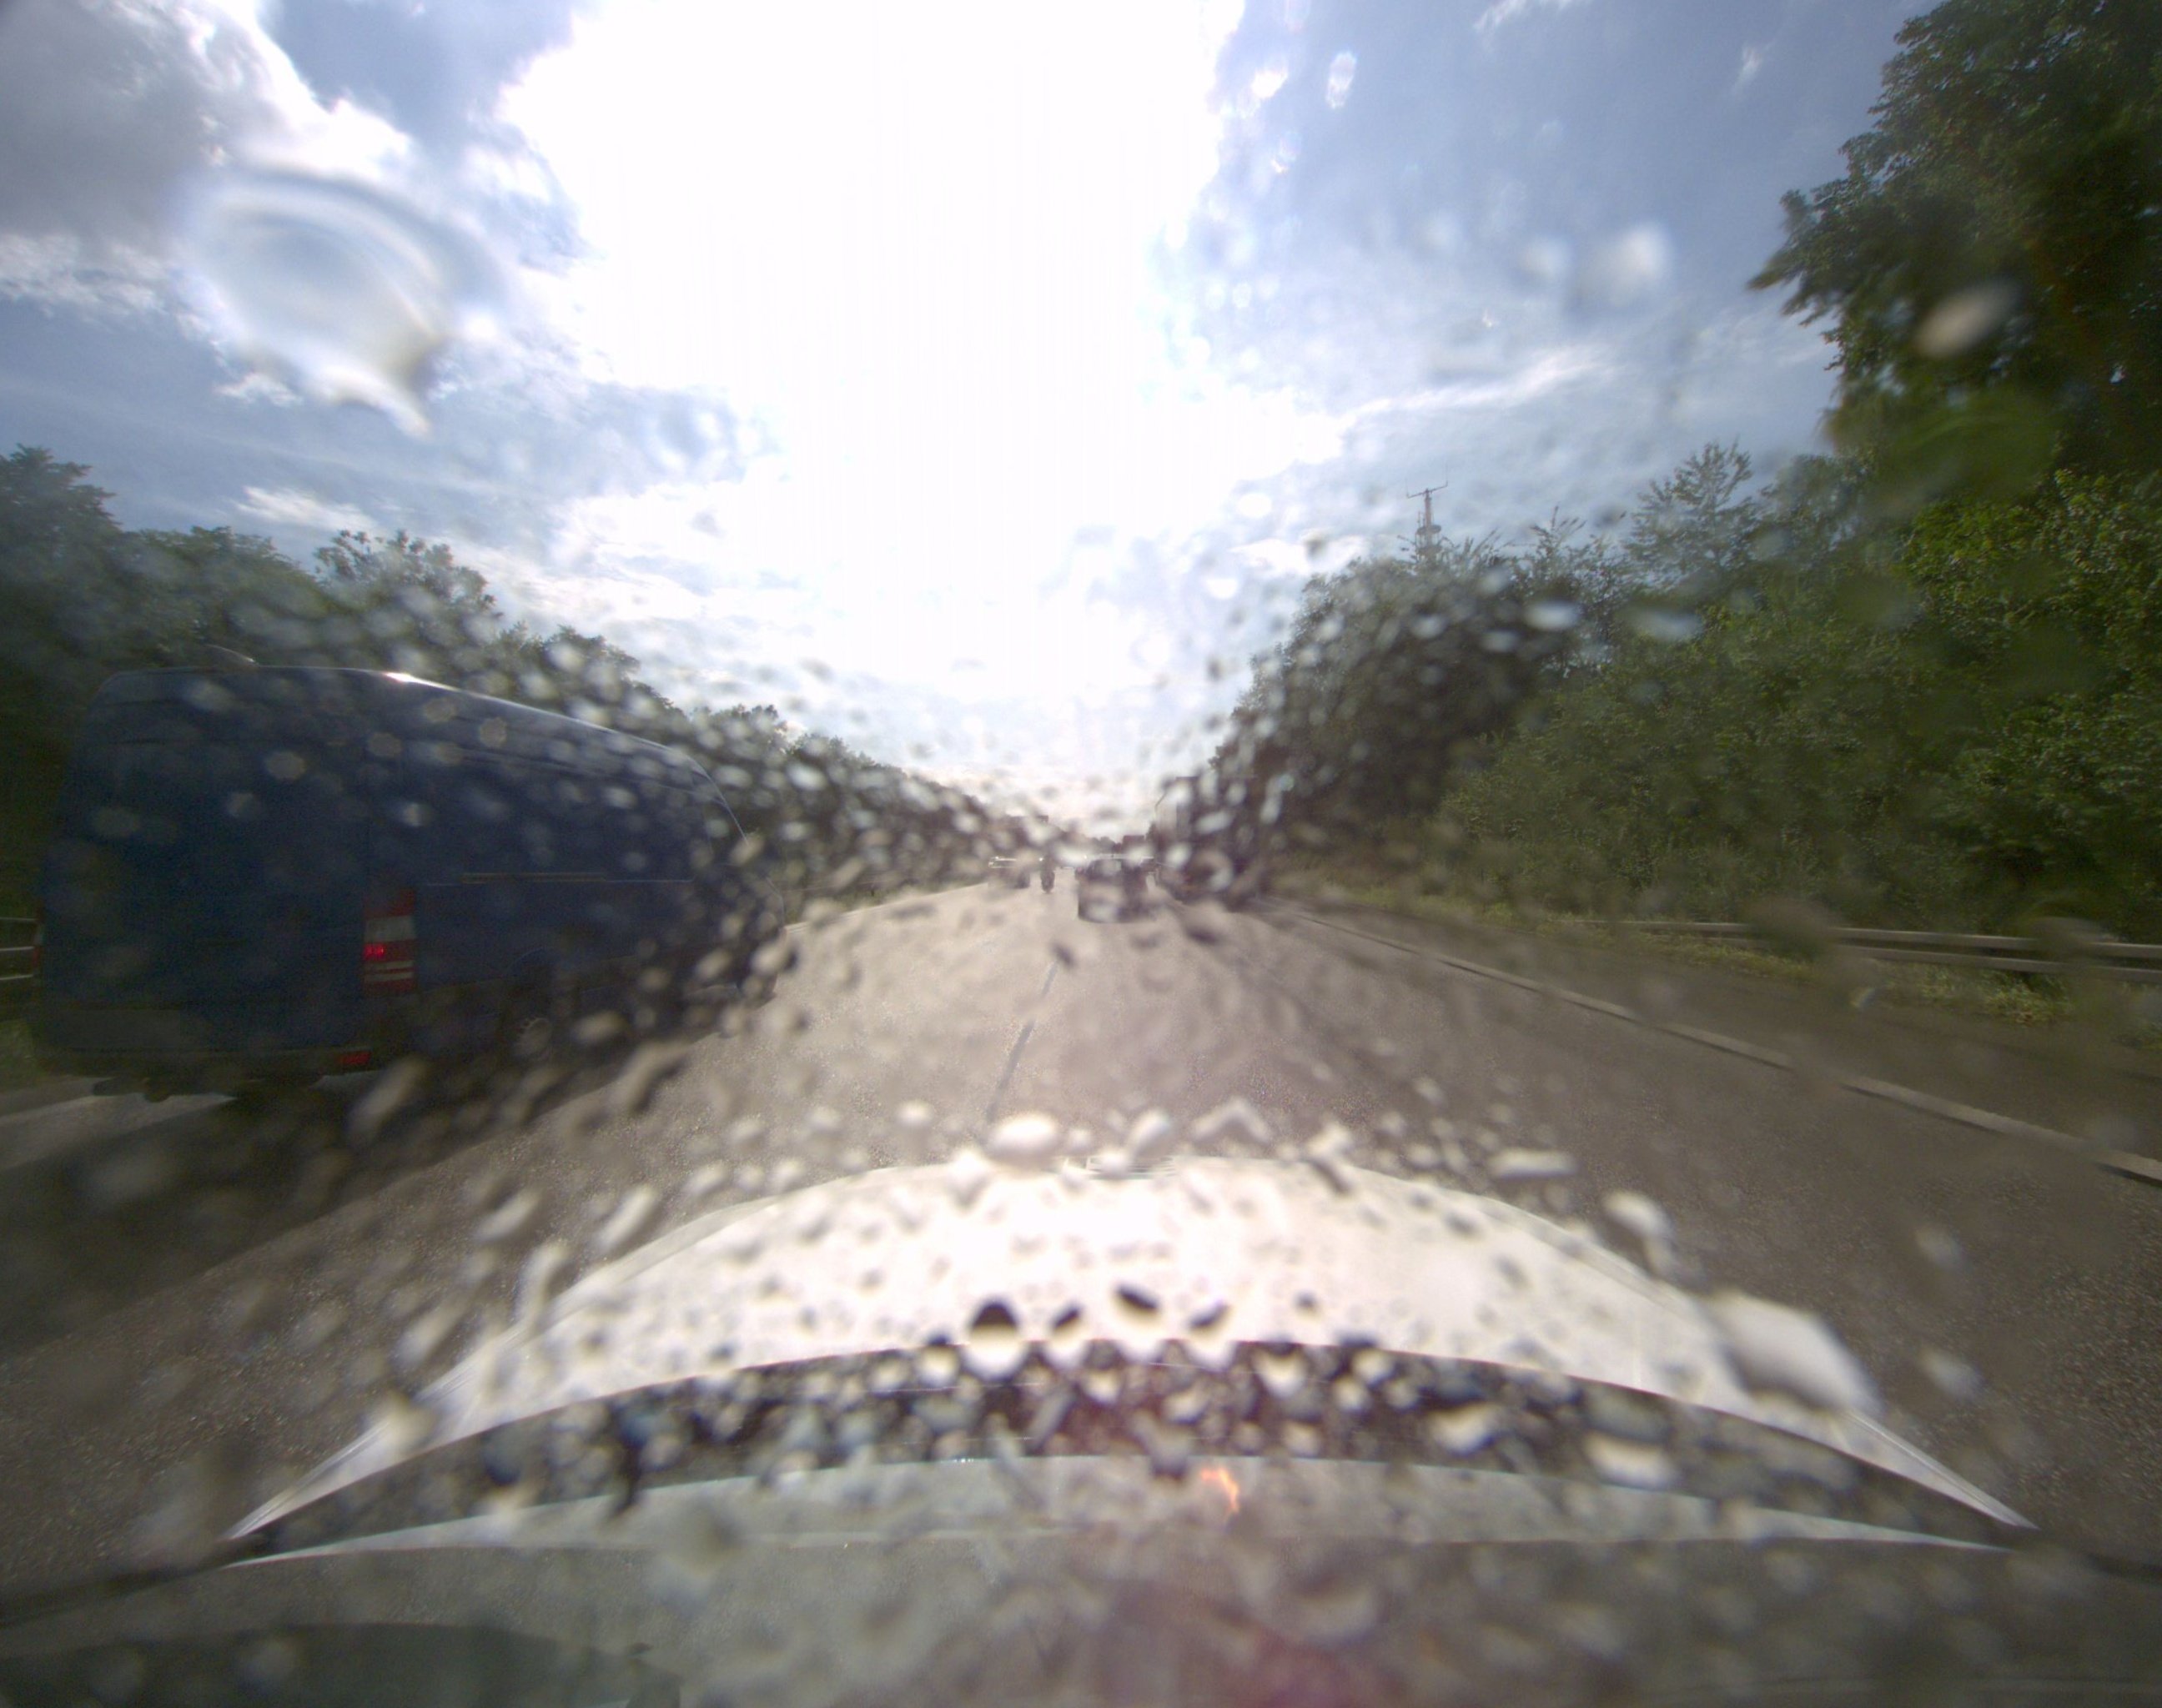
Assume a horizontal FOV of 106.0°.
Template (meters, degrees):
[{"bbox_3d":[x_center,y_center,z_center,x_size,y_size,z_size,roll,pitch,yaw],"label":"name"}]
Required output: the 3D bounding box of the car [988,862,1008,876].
[{"bbox_3d":[-10.622,1.889,105.101,1.901,1.679,4.969,-2,0,1],"label":"car"}]

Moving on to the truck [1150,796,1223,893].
[{"bbox_3d":[4.983,-0.404,39.451,3.040,4.325,5.890,-1,-1,3],"label":"truck"}]

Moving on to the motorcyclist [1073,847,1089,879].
[{"bbox_3d":[-0.008,0.487,44.682,0.818,1.761,1.391,-1,-1,1],"label":"motorcyclist"}]

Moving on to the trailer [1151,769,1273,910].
[{"bbox_3d":[4.661,-0.434,32.271,3.076,4.312,14.113,-1,0,2],"label":"trailer"}]

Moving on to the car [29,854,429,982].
[{"bbox_3d":[-14.304,0.928,14.205,1.986,1.834,4.621,1,0,2],"label":"car"}]

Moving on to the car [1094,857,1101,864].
[{"bbox_3d":[4.538,1.783,223.863,1.986,2.014,4.001,-1,-1,1],"label":"car"}]

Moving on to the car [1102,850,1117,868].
[{"bbox_3d":[3.273,0.568,94.796,1.669,1.936,3.774,-1,0,1],"label":"car"}]

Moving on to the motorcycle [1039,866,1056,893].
[{"bbox_3d":[-1.426,1.048,34.600,0.674,1.087,1.980,0,0,-2],"label":"motorcycle"}]

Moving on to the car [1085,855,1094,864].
[{"bbox_3d":[2.044,1.292,185.450,1.986,2.014,4.001,-1,-1,1],"label":"car"}]

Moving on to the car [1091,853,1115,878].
[{"bbox_3d":[1.893,0.963,69.824,1.986,2.014,4.000,-1,-1,1],"label":"car"}]

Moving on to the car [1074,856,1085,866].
[{"bbox_3d":[-0.224,1.116,133.189,1.669,1.597,3.437,-1,0,1],"label":"car"}]

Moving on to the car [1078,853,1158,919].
[{"bbox_3d":[0.932,0.783,21.711,1.908,1.565,4.315,-1,0,1],"label":"car"}]

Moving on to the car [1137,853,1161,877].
[{"bbox_3d":[5.825,0.922,69.724,1.842,2.014,4.089,-1,-1,2],"label":"car"}]

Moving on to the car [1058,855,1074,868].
[{"bbox_3d":[-1.866,0.912,102.703,1.886,1.628,4.196,-1,0,1],"label":"car"}]

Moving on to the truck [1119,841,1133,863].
[{"bbox_3d":[10.080,-0.350,183.623,2.871,4.687,12.662,-1,-1,2],"label":"truck"}]

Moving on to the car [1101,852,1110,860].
[{"bbox_3d":[4.596,0.343,151.261,1.626,1.490,3.437,-1,0,1],"label":"car"}]

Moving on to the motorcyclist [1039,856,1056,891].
[{"bbox_3d":[-1.427,0.826,34.621,0.669,1.442,1.019,0,-1,-2],"label":"motorcyclist"}]

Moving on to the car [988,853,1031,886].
[{"bbox_3d":[-3.641,0.782,42.090,1.752,1.595,4.331,-1,0,1],"label":"car"}]

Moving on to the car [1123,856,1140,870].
[{"bbox_3d":[5.510,0.976,88.955,1.669,1.490,3.437,-1,0,1],"label":"car"}]

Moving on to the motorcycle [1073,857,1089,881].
[{"bbox_3d":[0.001,0.814,44.687,0.816,1.263,2.118,0,0,2],"label":"motorcycle"}]

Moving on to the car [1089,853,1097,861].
[{"bbox_3d":[2.948,0.790,202.791,1.986,2.014,4.001,-1,-1,1],"label":"car"}]

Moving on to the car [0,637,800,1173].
[{"bbox_3d":[-4.484,0.263,6.950,2.008,2.648,5.778,-1,0,1],"label":"car"}]

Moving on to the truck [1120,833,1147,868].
[{"bbox_3d":[6.853,-0.431,107.361,3.190,4.404,9.436,-1,0,2],"label":"truck"}]
